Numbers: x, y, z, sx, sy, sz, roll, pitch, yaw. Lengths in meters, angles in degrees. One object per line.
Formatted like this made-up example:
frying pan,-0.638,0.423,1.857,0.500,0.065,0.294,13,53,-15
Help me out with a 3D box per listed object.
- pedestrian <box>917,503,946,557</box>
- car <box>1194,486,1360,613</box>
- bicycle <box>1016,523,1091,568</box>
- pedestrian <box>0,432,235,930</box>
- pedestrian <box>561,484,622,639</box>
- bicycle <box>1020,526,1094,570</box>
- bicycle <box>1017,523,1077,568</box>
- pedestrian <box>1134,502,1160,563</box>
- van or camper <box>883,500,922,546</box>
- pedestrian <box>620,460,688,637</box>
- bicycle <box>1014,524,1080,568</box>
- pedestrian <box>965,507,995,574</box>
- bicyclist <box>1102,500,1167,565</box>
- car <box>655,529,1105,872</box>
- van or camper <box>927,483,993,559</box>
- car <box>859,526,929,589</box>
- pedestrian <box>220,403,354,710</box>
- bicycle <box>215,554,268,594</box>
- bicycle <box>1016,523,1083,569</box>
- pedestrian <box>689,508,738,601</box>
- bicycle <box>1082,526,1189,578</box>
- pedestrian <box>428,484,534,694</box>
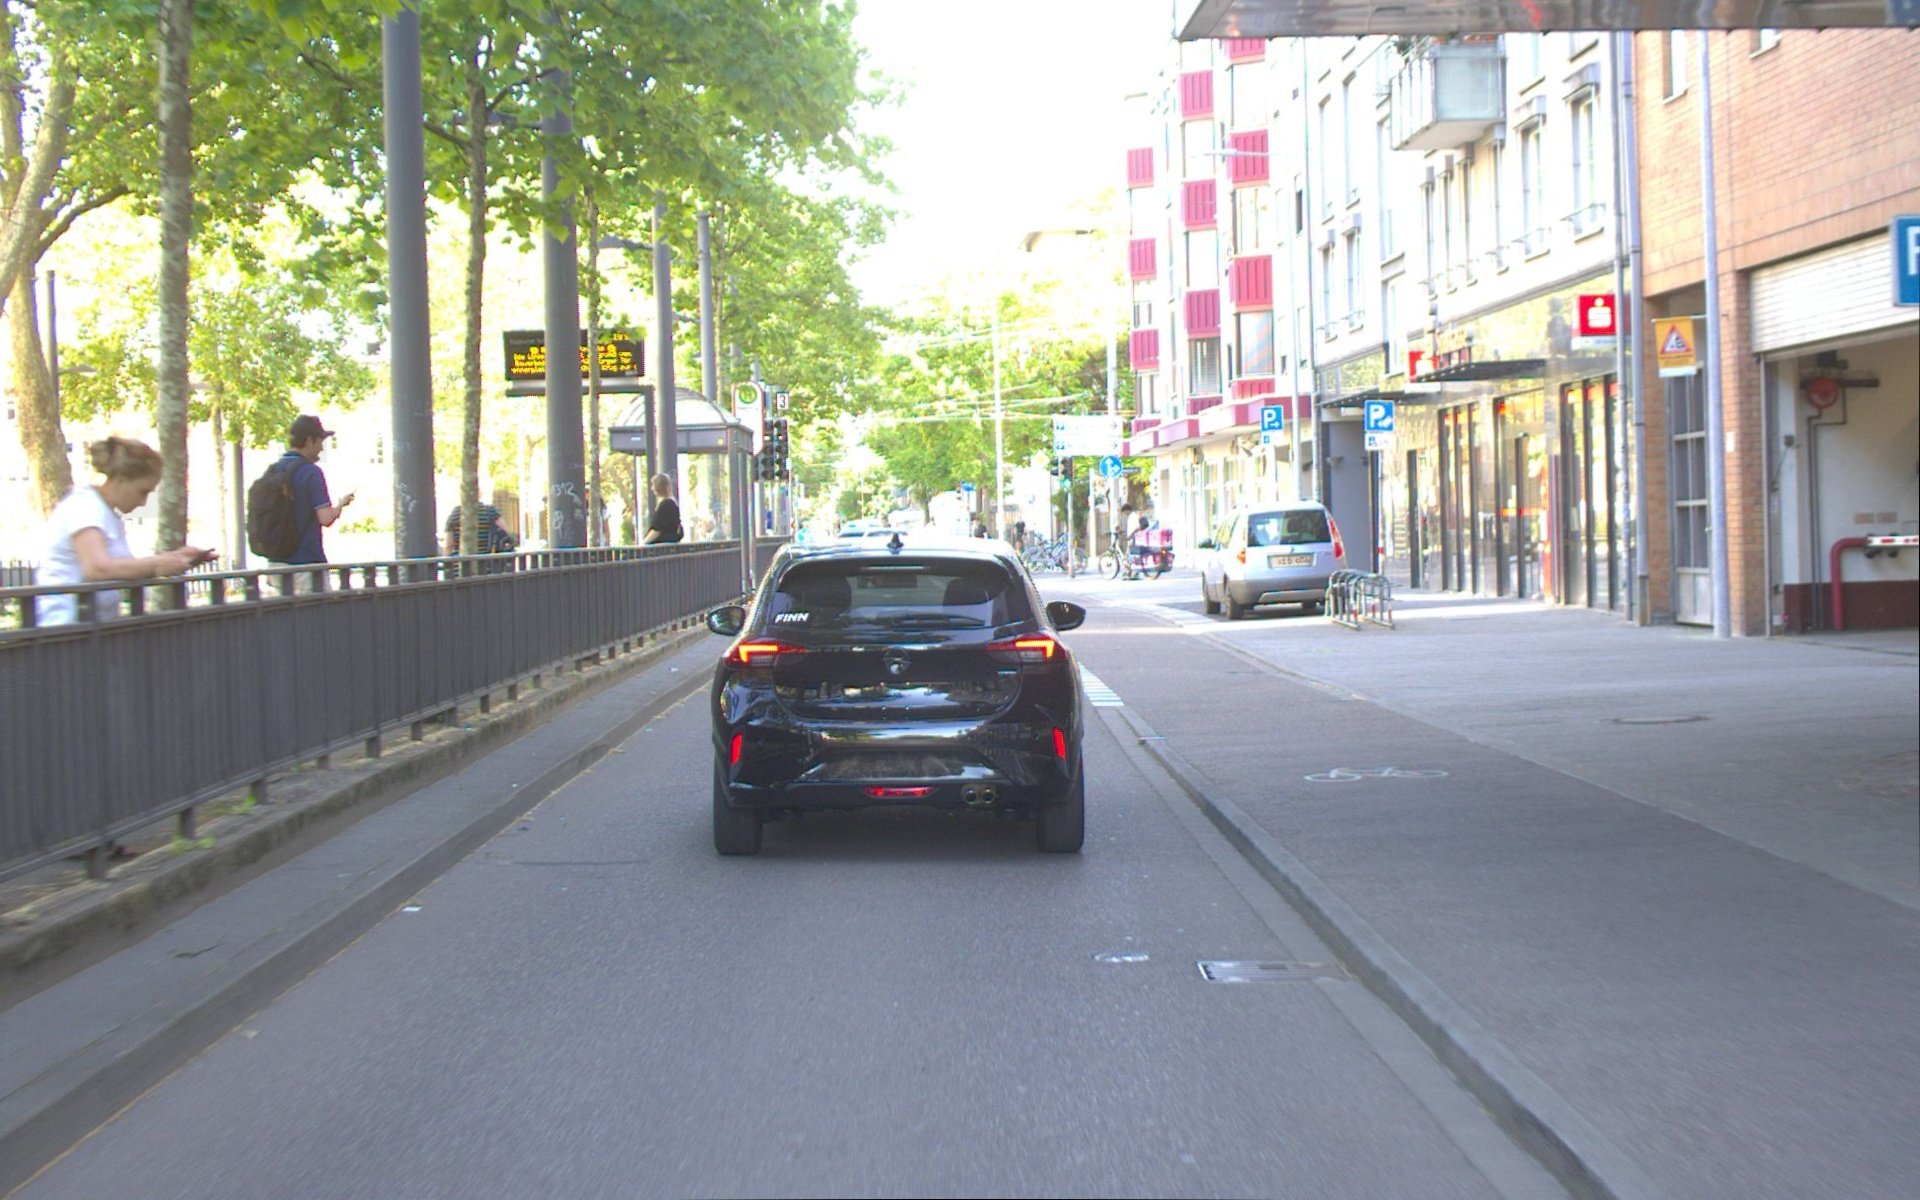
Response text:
pedestrian,-1.092,-2.674,130.635,1.036,2.017,1.213,-1,1,-3
car,4.477,-0.736,49.120,1.832,1.617,4.285,-4,1,-1
bicycle,2.575,-1.501,94.817,1.976,1.195,0.591,-2,1,-5
pedestrian,-2.966,0.270,11.993,0.740,1.684,0.645,1,1,-2
pedestrian,-4.500,-0.477,42.034,0.645,1.865,0.753,-1,1,0
bicycle,2.657,-1.426,94.161,1.939,1.166,0.572,-2,1,-4
bicycle,2.438,-1.526,96.291,1.623,1.195,0.496,-1,1,3
pedestrian,5.838,-2.109,107.374,0.722,1.851,0.801,-1,1,-2
van or camper,-3.737,-5.016,224.989,2.486,2.983,5.434,1,1,-1
pedestrian,-3.301,-0.558,37.150,0.646,1.880,0.661,-1,1,-1
bicycle,2.451,-1.532,97.039,1.802,1.195,0.545,-1,0,3
pedestrian,0.533,-1.584,90.997,0.734,1.740,0.712,-1,1,4
bicyclist,4.187,-1.616,82.521,1.057,1.534,1.078,-3,1,-44
car,-0.366,0.387,16.872,1.905,1.420,4.216,-1,1,-1
van or camper,-0.033,-3.465,151.343,2.375,3.114,7.552,-4,1,-2
car,-1.779,-1.175,93.222,1.832,1.617,4.285,-1,1,-1
pedestrian,-4.041,-0.267,20.684,0.706,1.796,0.827,-1,1,-8
bicycle,-17.919,-0.650,85.802,0.813,0.943,1.725,-1,1,5
bicycle,2.499,-1.509,95.721,1.831,1.216,0.496,-1,1,2
pedestrian,-3.559,-0.664,49.662,0.626,1.315,0.801,-1,1,0
bicycle,4.212,-1.146,82.531,0.961,1.179,2.597,-3,2,-43
pedestrian,-3.951,-0.099,28.405,0.729,1.696,0.863,-1,1,1
